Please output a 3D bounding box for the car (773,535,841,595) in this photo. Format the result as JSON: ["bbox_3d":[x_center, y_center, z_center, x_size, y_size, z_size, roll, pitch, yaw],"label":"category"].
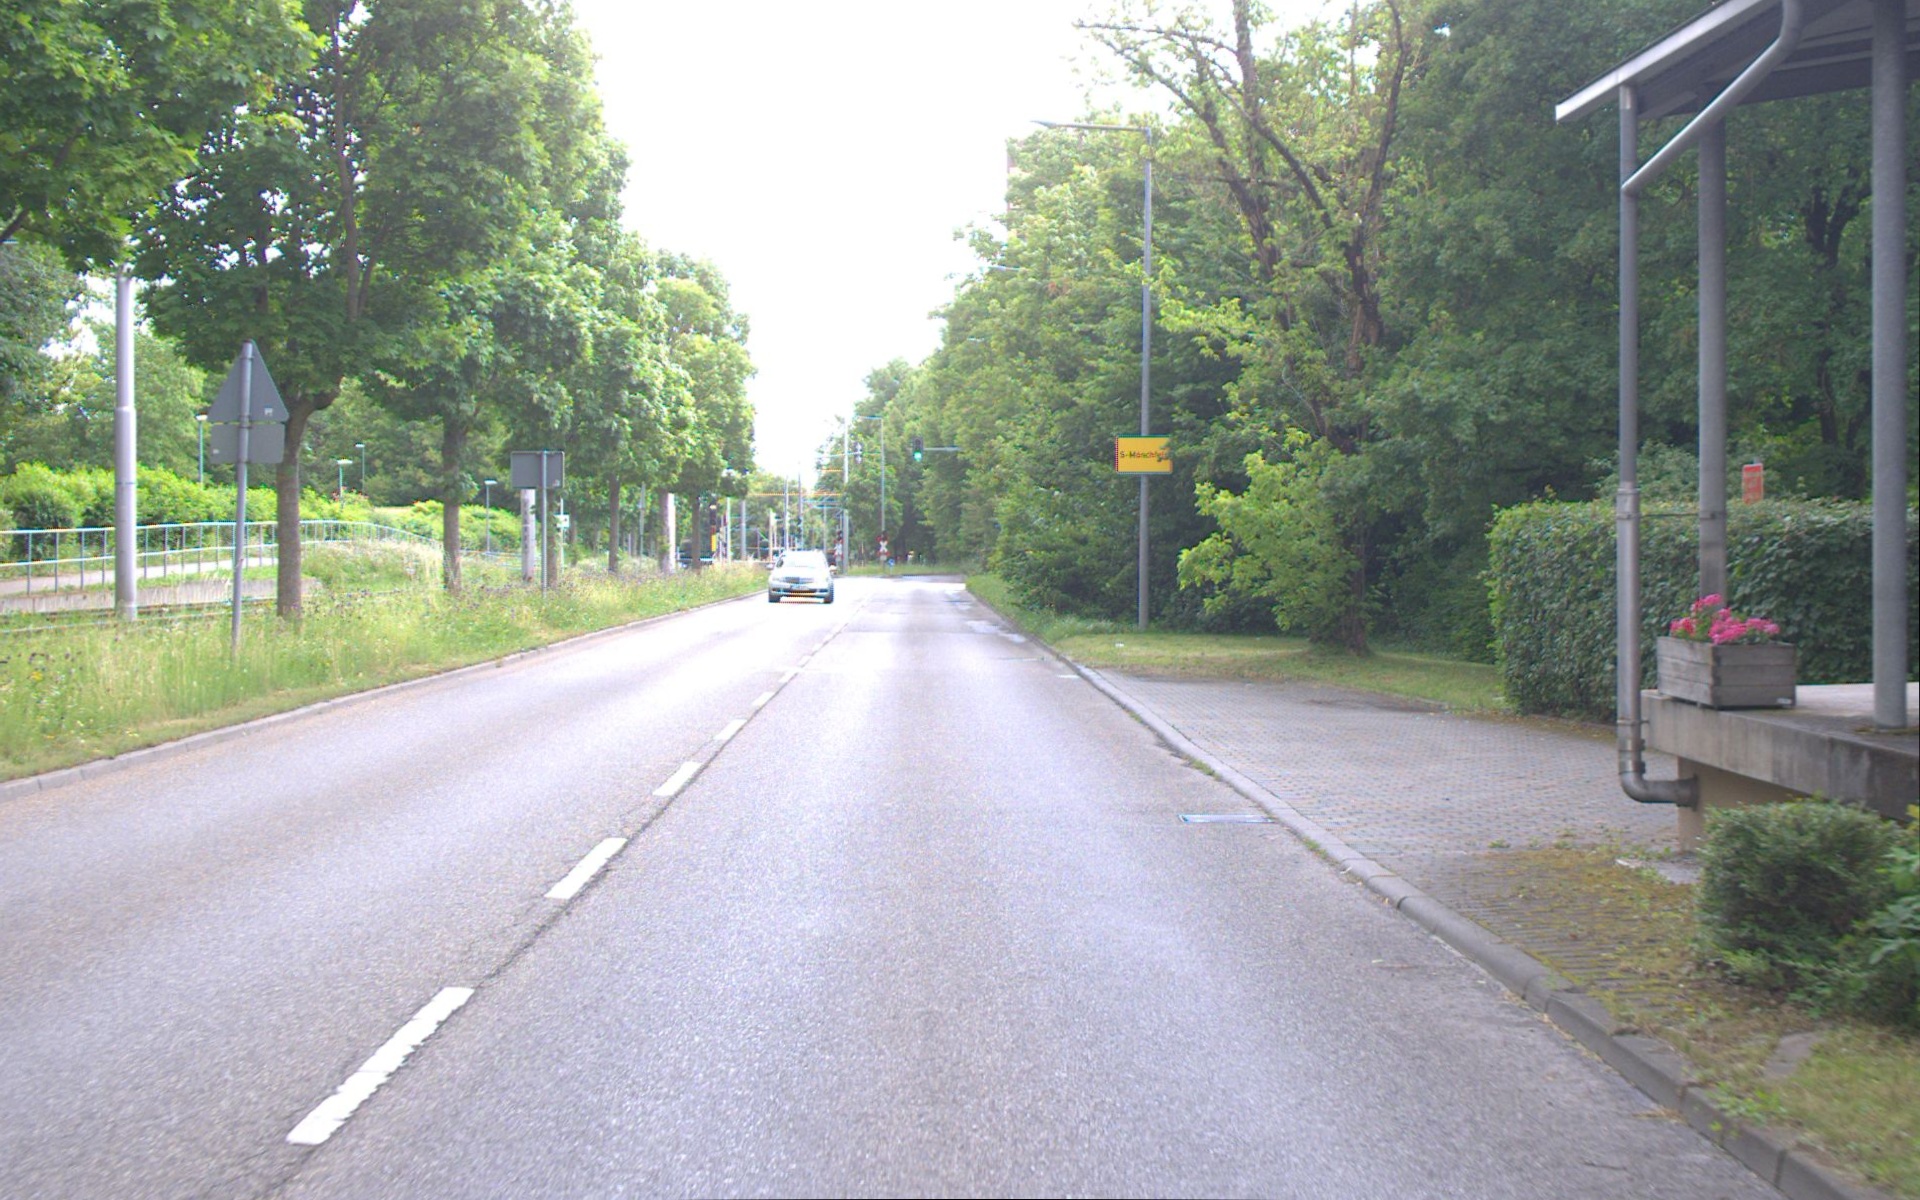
[{"bbox_3d":[-4.298,-1.010,97.242,1.716,1.624,4.000,2,1,0],"label":"car"}]
